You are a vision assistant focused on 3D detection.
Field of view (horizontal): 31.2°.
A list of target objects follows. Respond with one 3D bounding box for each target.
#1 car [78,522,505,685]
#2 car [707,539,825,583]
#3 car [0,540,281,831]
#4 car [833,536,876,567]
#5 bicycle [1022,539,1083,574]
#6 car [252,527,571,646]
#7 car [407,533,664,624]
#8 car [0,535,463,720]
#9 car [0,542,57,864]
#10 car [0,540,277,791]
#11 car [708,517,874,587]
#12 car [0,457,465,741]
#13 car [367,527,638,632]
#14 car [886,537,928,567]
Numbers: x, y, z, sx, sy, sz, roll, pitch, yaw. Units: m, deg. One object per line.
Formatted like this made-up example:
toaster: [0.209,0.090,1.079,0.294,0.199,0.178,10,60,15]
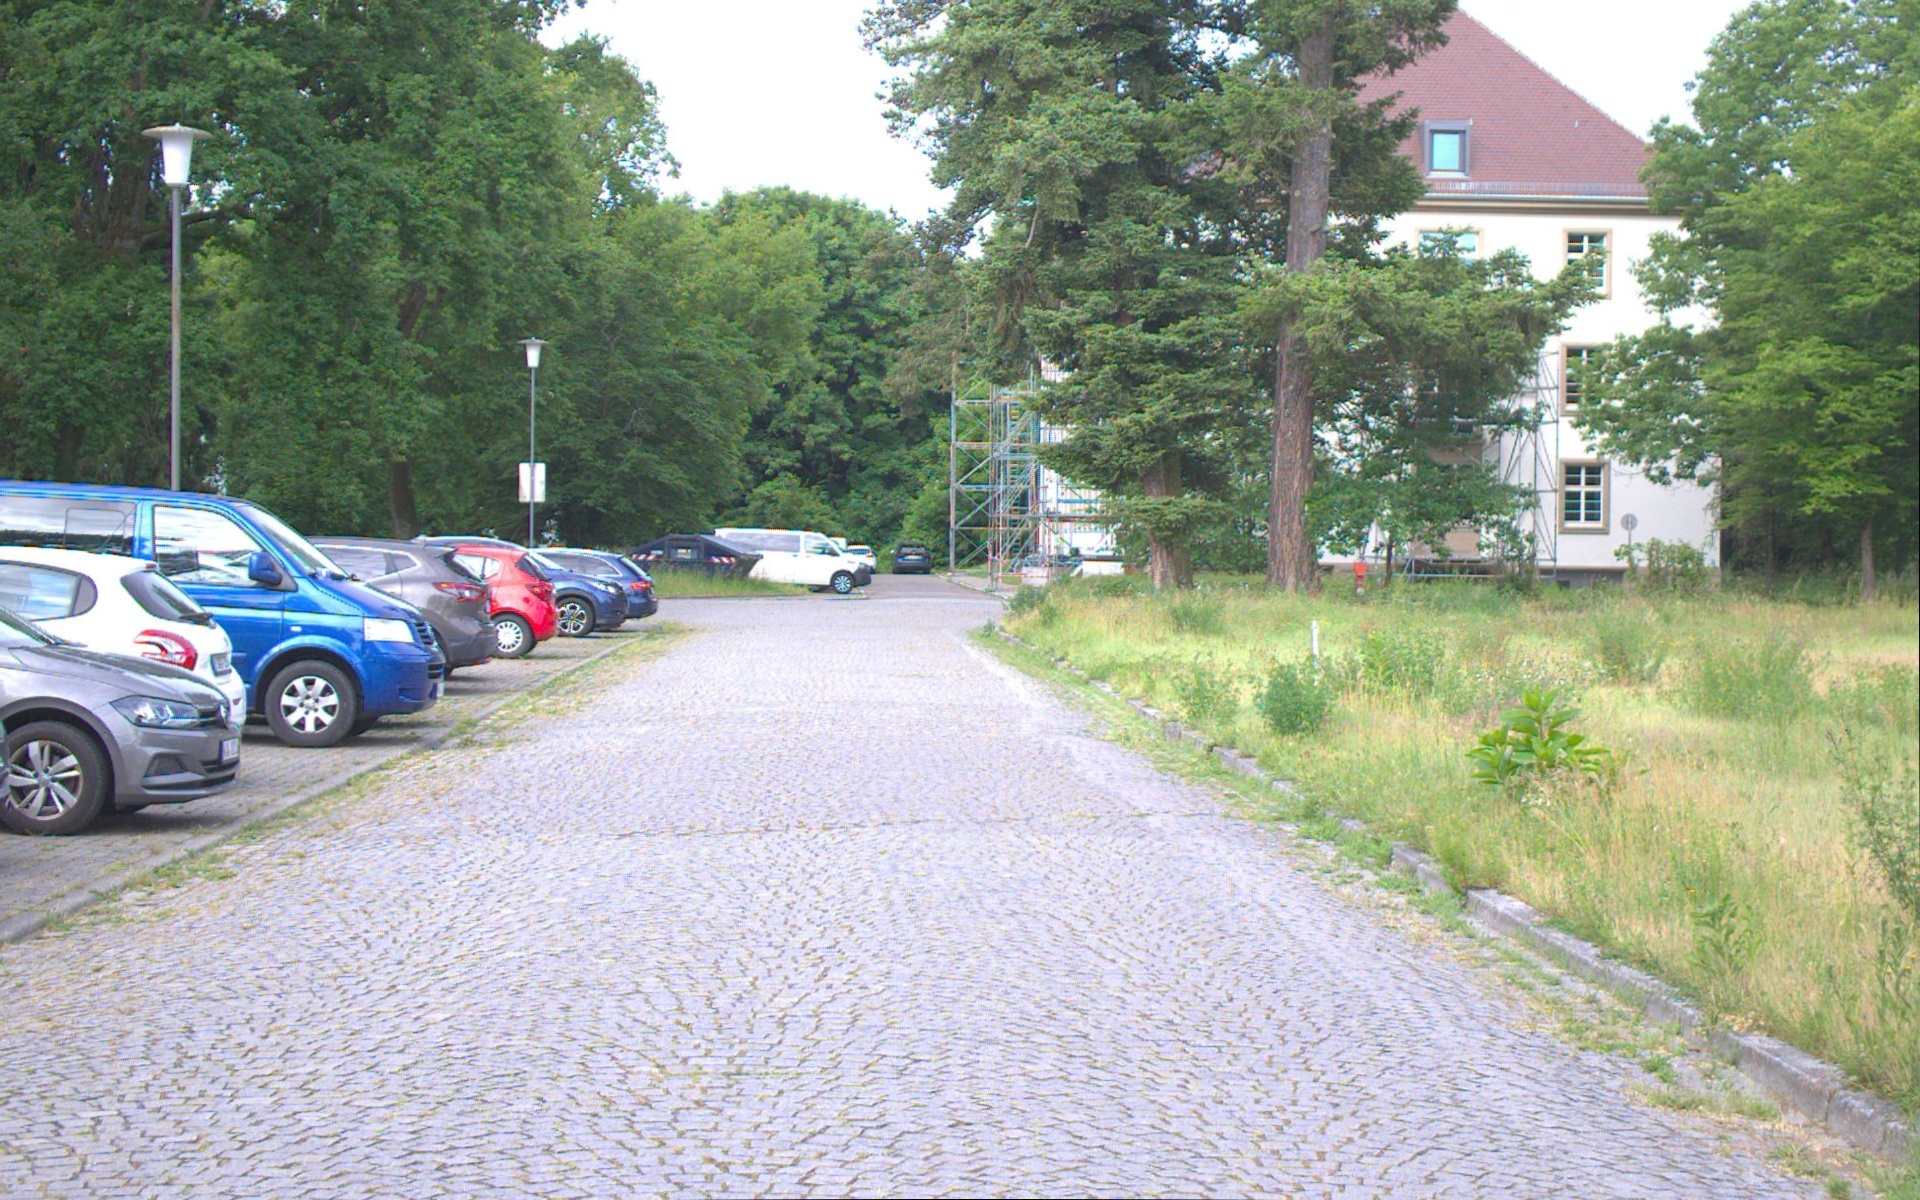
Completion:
car: [-6.903,0.018,35.866,4.165,1.616,1.987,1,1,-4]
car: [-6.373,-1.290,112.665,3.788,1.390,2.000,1,1,-4]
car: [-5.974,0.412,18.750,4.166,1.486,1.865,1,1,0]
car: [-5.419,-2.476,176.117,2.118,1.516,4.001,1,1,-3]
bicycle: [3.424,-1.605,127.567,2.240,1.250,0.777,1,1,1]
car: [-7.328,-0.193,46.229,4.054,1.520,1.905,1,1,-3]
car: [-7.518,-0.388,61.201,4.302,1.456,1.975,2,1,0]
car: [-6.451,0.215,29.585,4.165,1.505,1.782,1,1,-4]
car: [-6.504,0.452,15.928,4.166,1.477,1.846,1,1,-1]
car: [-6.527,0.368,21.698,4.067,1.492,1.846,1,1,-1]
car: [-5.415,-1.546,110.093,5.234,2.160,2.000,1,1,-4]
car: [-6.407,-0.035,26.991,4.781,2.115,2.115,1,1,-3]
car: [-7.473,-0.345,56.478,4.227,1.571,1.887,2,1,-3]
car: [-2.752,-2.463,176.489,1.951,1.516,4.001,1,1,-3]
